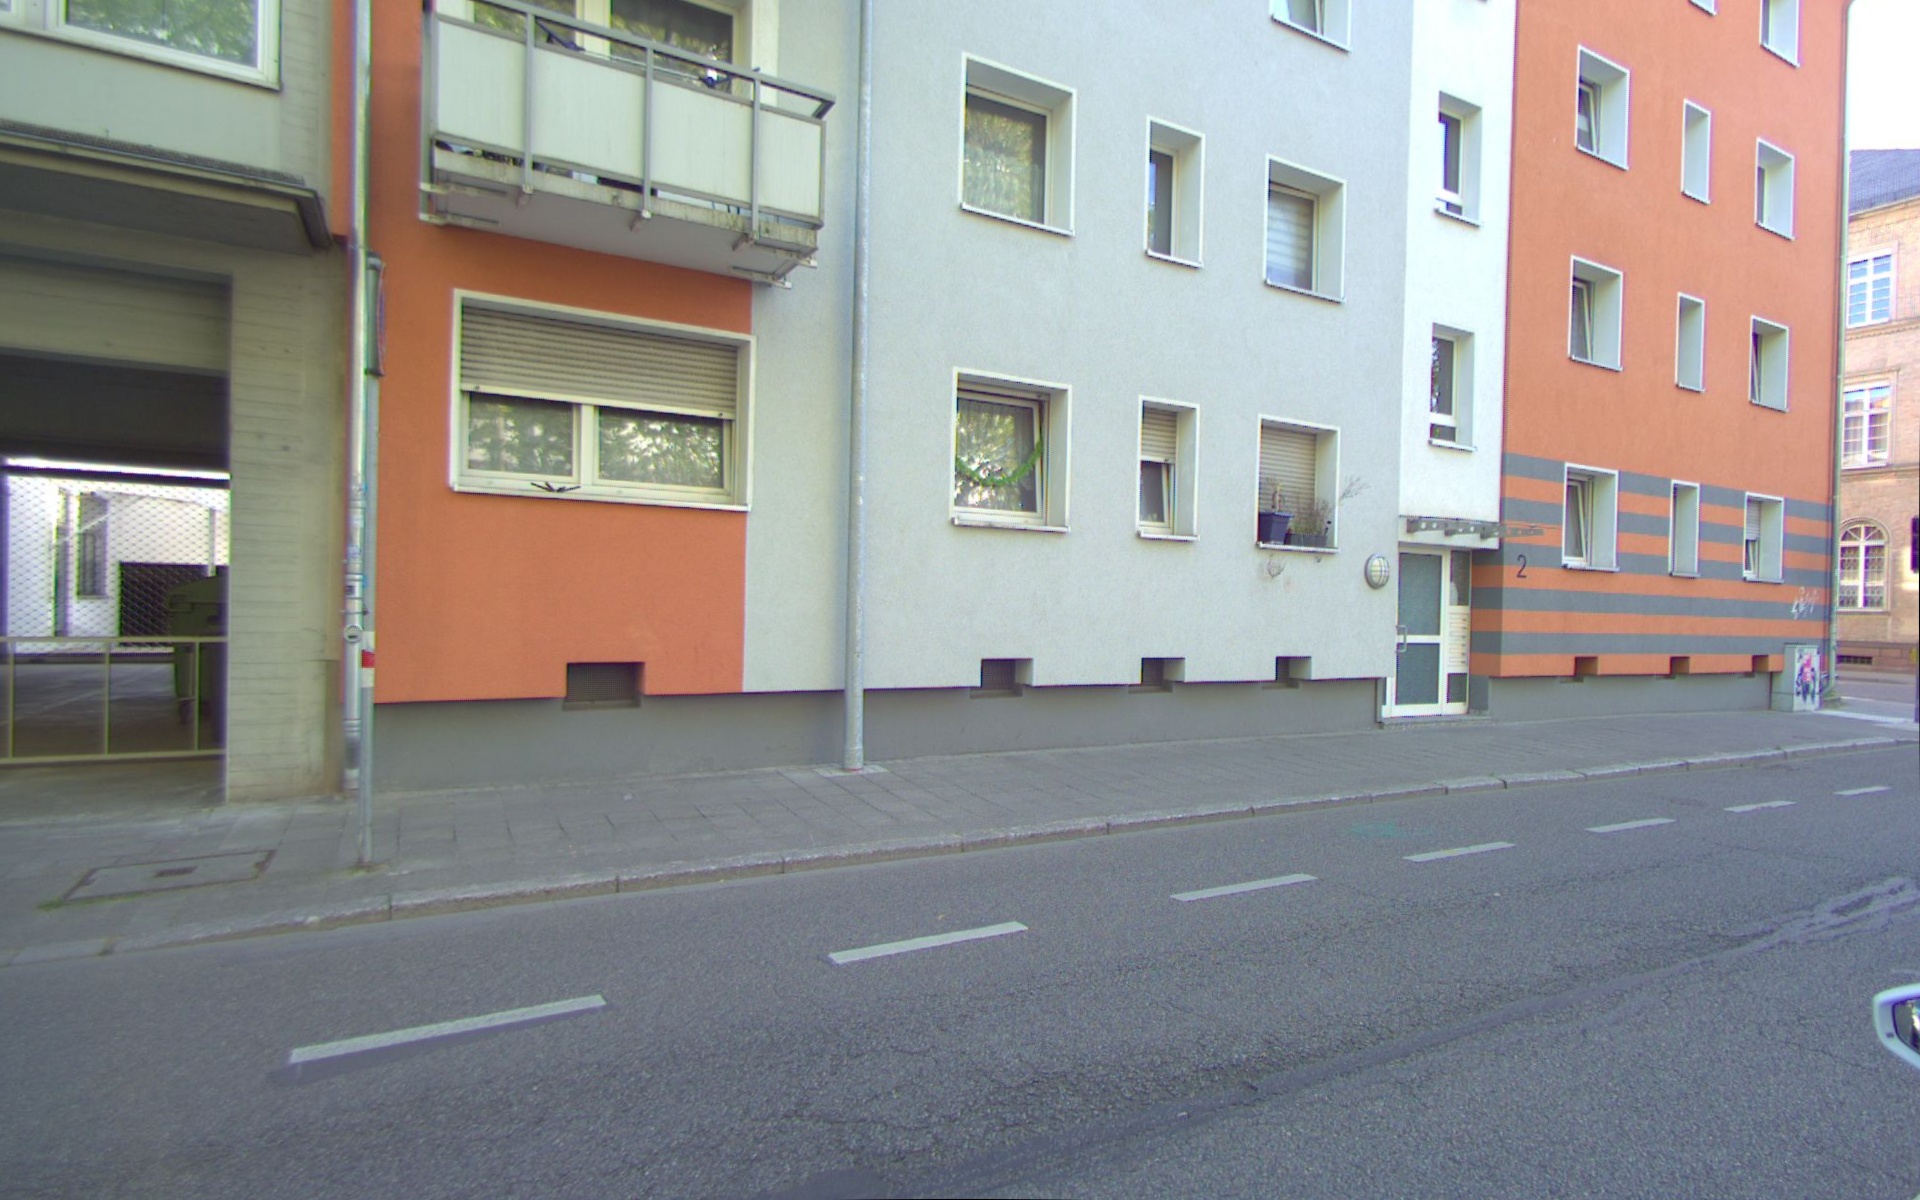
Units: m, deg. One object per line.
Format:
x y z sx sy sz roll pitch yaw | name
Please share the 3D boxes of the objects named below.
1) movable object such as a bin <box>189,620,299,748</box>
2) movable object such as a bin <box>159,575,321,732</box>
-6.342 0.728 8.932 0.694 1.061 0.567 2 1 -27 | movable object such as a bin
-7.316 0.509 10.301 1.128 1.484 1.255 2 0 -27 | movable object such as a bin
